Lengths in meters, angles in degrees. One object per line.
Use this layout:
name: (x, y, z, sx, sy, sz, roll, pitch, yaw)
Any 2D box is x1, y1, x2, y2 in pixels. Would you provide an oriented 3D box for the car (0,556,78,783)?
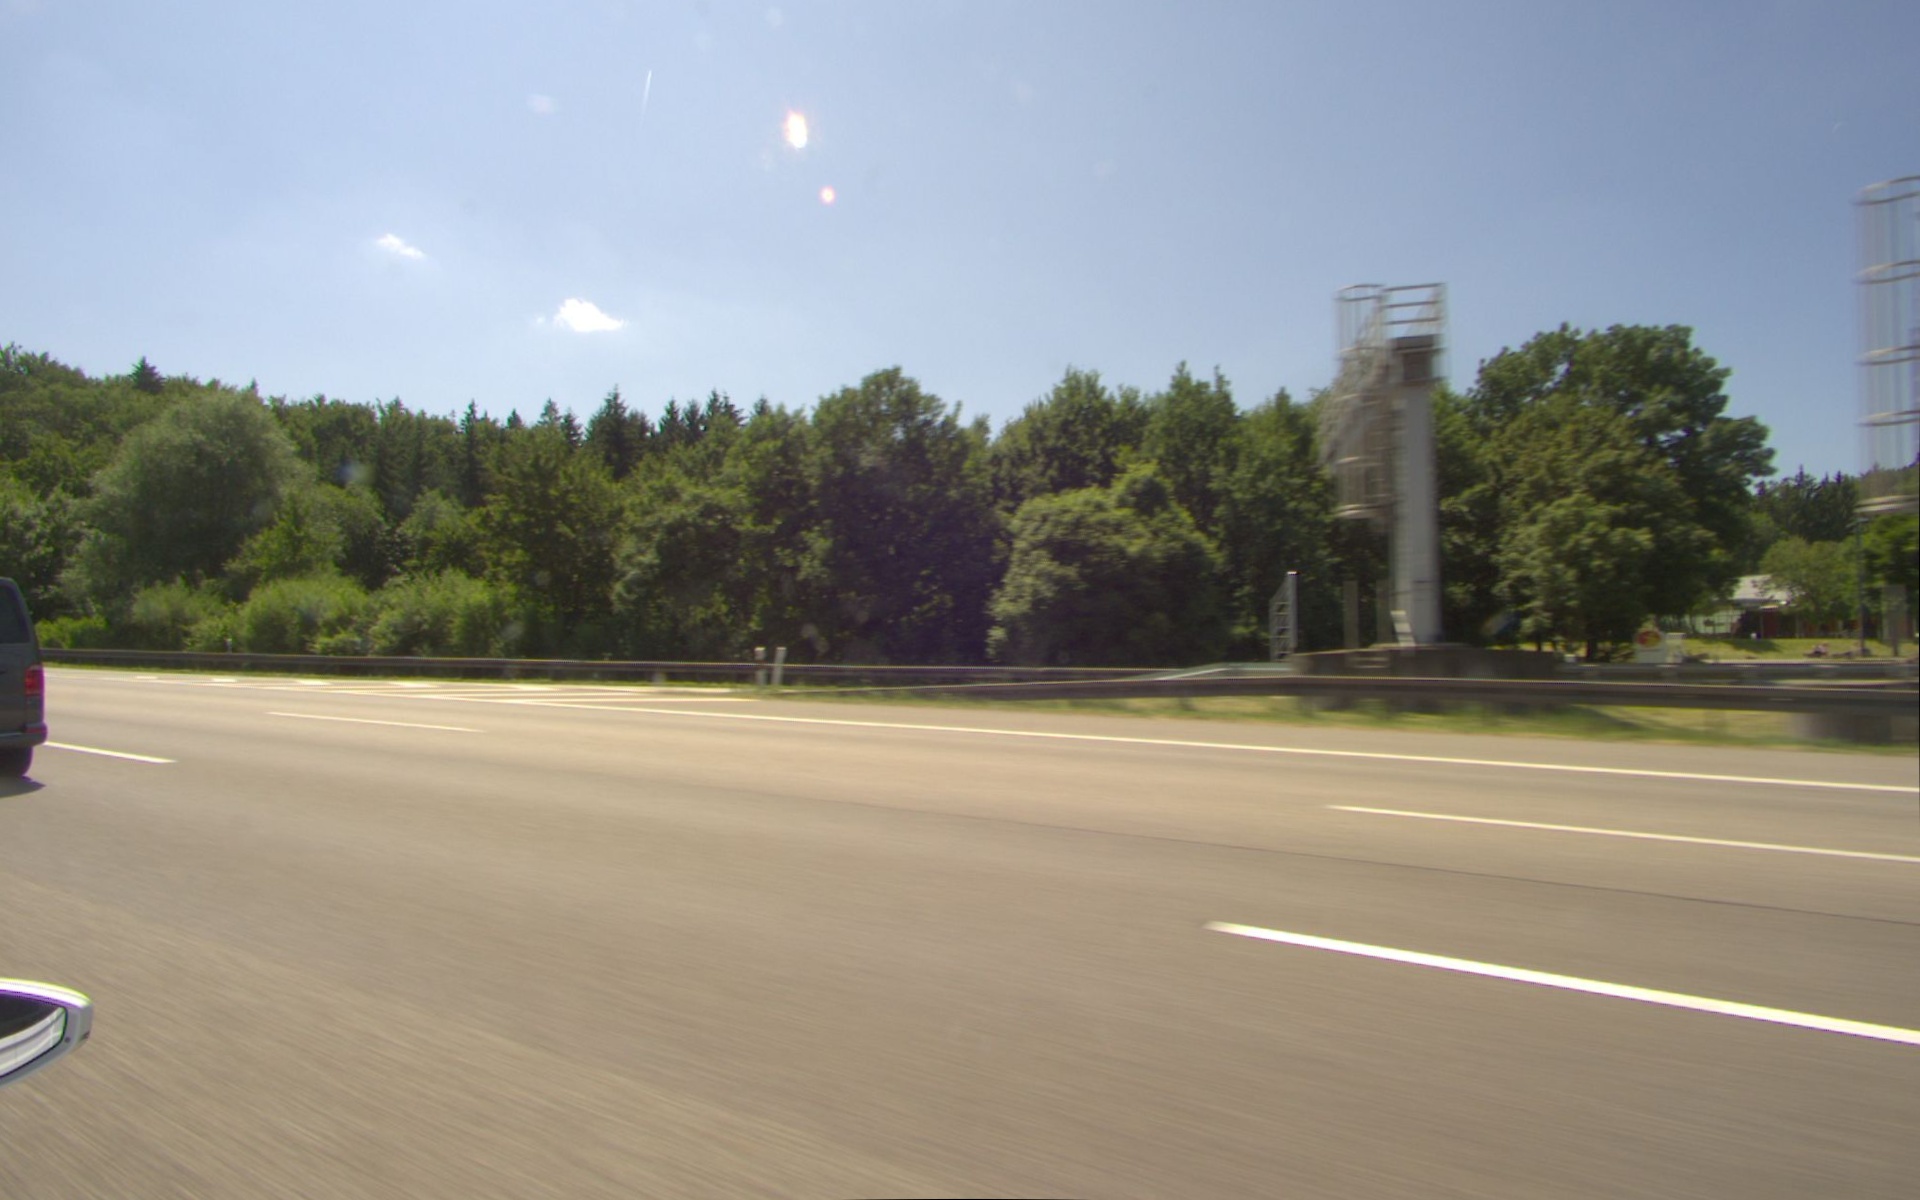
car: (-11.091, 0.659, 10.045, 5.009, 2.059, 1.960, -1, -2, 31)
